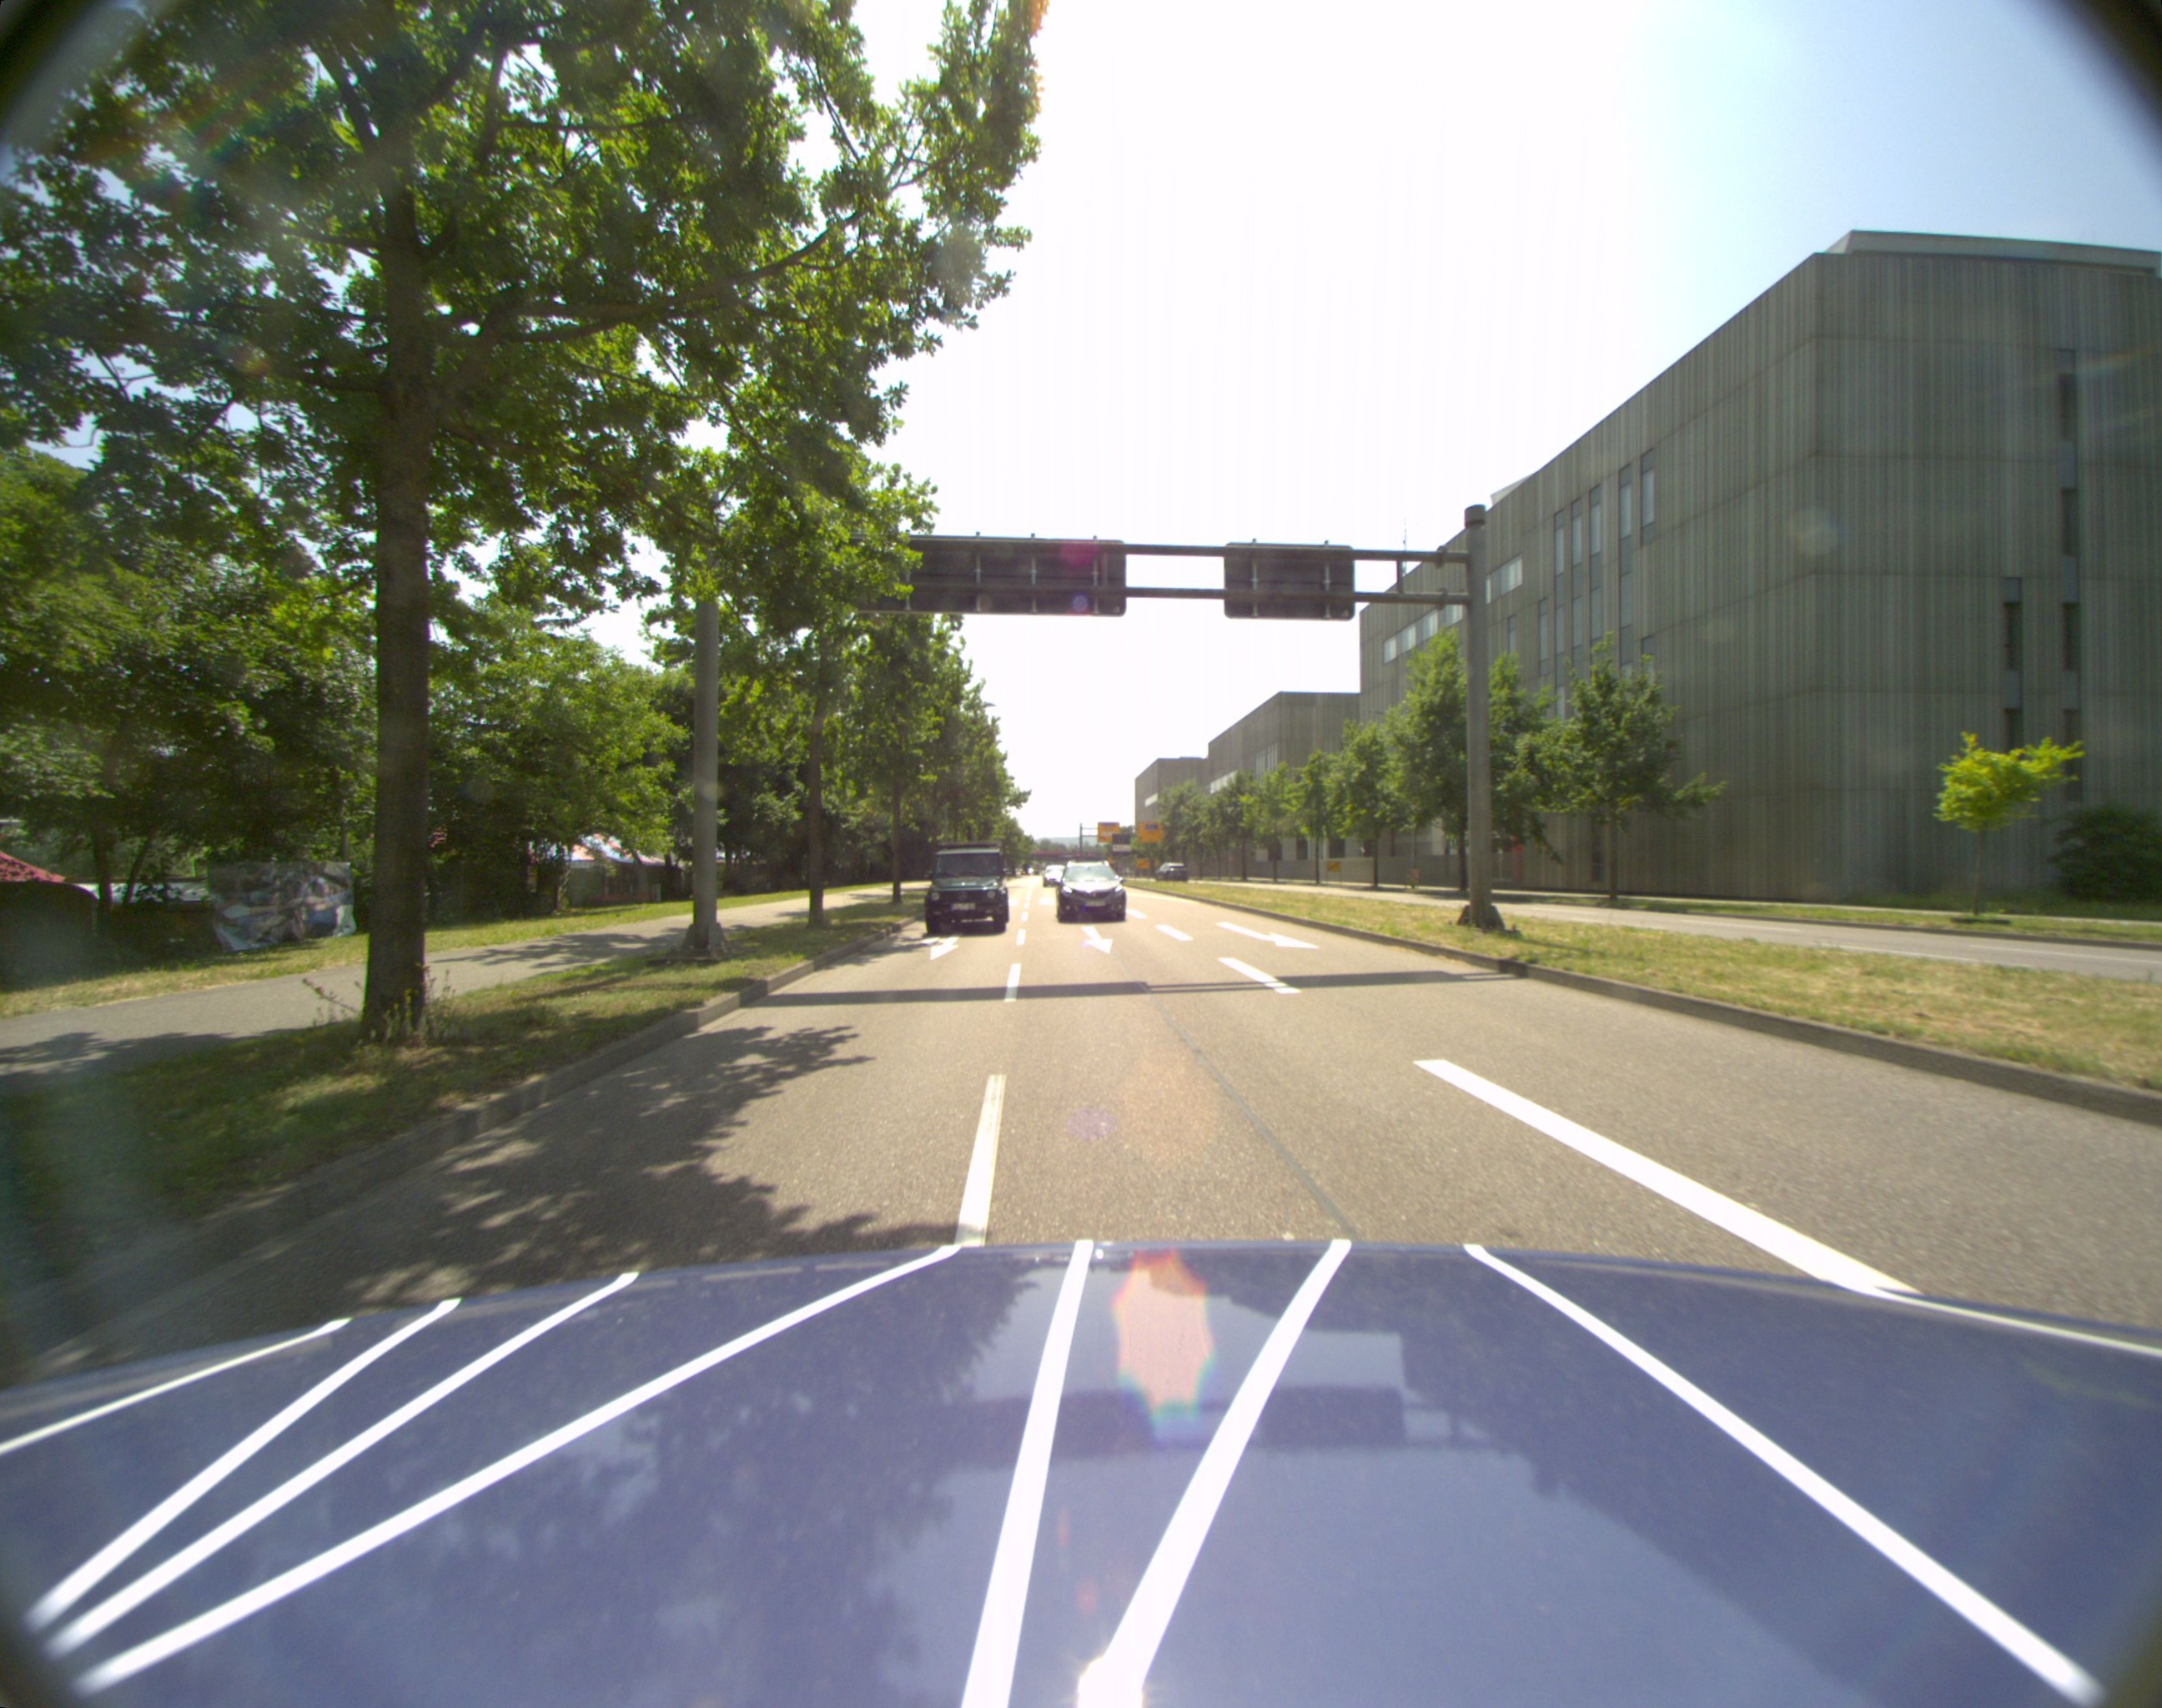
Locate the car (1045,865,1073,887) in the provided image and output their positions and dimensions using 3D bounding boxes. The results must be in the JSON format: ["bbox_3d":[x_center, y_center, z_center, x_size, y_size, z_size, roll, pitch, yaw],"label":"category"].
[{"bbox_3d":[-1.535,1.489,52.436,1.817,1.455,3.999,0,-1,-3],"label":"car"}]

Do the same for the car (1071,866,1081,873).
[{"bbox_3d":[-1.065,3.298,162.884,1.712,1.463,3.940,1,-1,-5],"label":"car"}]

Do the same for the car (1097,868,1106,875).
[{"bbox_3d":[4.885,4.201,182.091,1.815,1.418,4.358,1,-1,-3],"label":"car"}]

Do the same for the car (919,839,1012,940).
[{"bbox_3d":[-2.674,0.783,18.539,1.842,2.141,4.557,-1,-1,-4],"label":"car"}]

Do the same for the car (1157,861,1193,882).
[{"bbox_3d":[7.437,1.378,60.444,1.898,1.601,4.532,0,0,-5],"label":"car"}]

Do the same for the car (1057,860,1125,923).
[{"bbox_3d":[0.217,1.003,21.093,1.619,1.502,4.458,-2,-2,-1],"label":"car"}]
